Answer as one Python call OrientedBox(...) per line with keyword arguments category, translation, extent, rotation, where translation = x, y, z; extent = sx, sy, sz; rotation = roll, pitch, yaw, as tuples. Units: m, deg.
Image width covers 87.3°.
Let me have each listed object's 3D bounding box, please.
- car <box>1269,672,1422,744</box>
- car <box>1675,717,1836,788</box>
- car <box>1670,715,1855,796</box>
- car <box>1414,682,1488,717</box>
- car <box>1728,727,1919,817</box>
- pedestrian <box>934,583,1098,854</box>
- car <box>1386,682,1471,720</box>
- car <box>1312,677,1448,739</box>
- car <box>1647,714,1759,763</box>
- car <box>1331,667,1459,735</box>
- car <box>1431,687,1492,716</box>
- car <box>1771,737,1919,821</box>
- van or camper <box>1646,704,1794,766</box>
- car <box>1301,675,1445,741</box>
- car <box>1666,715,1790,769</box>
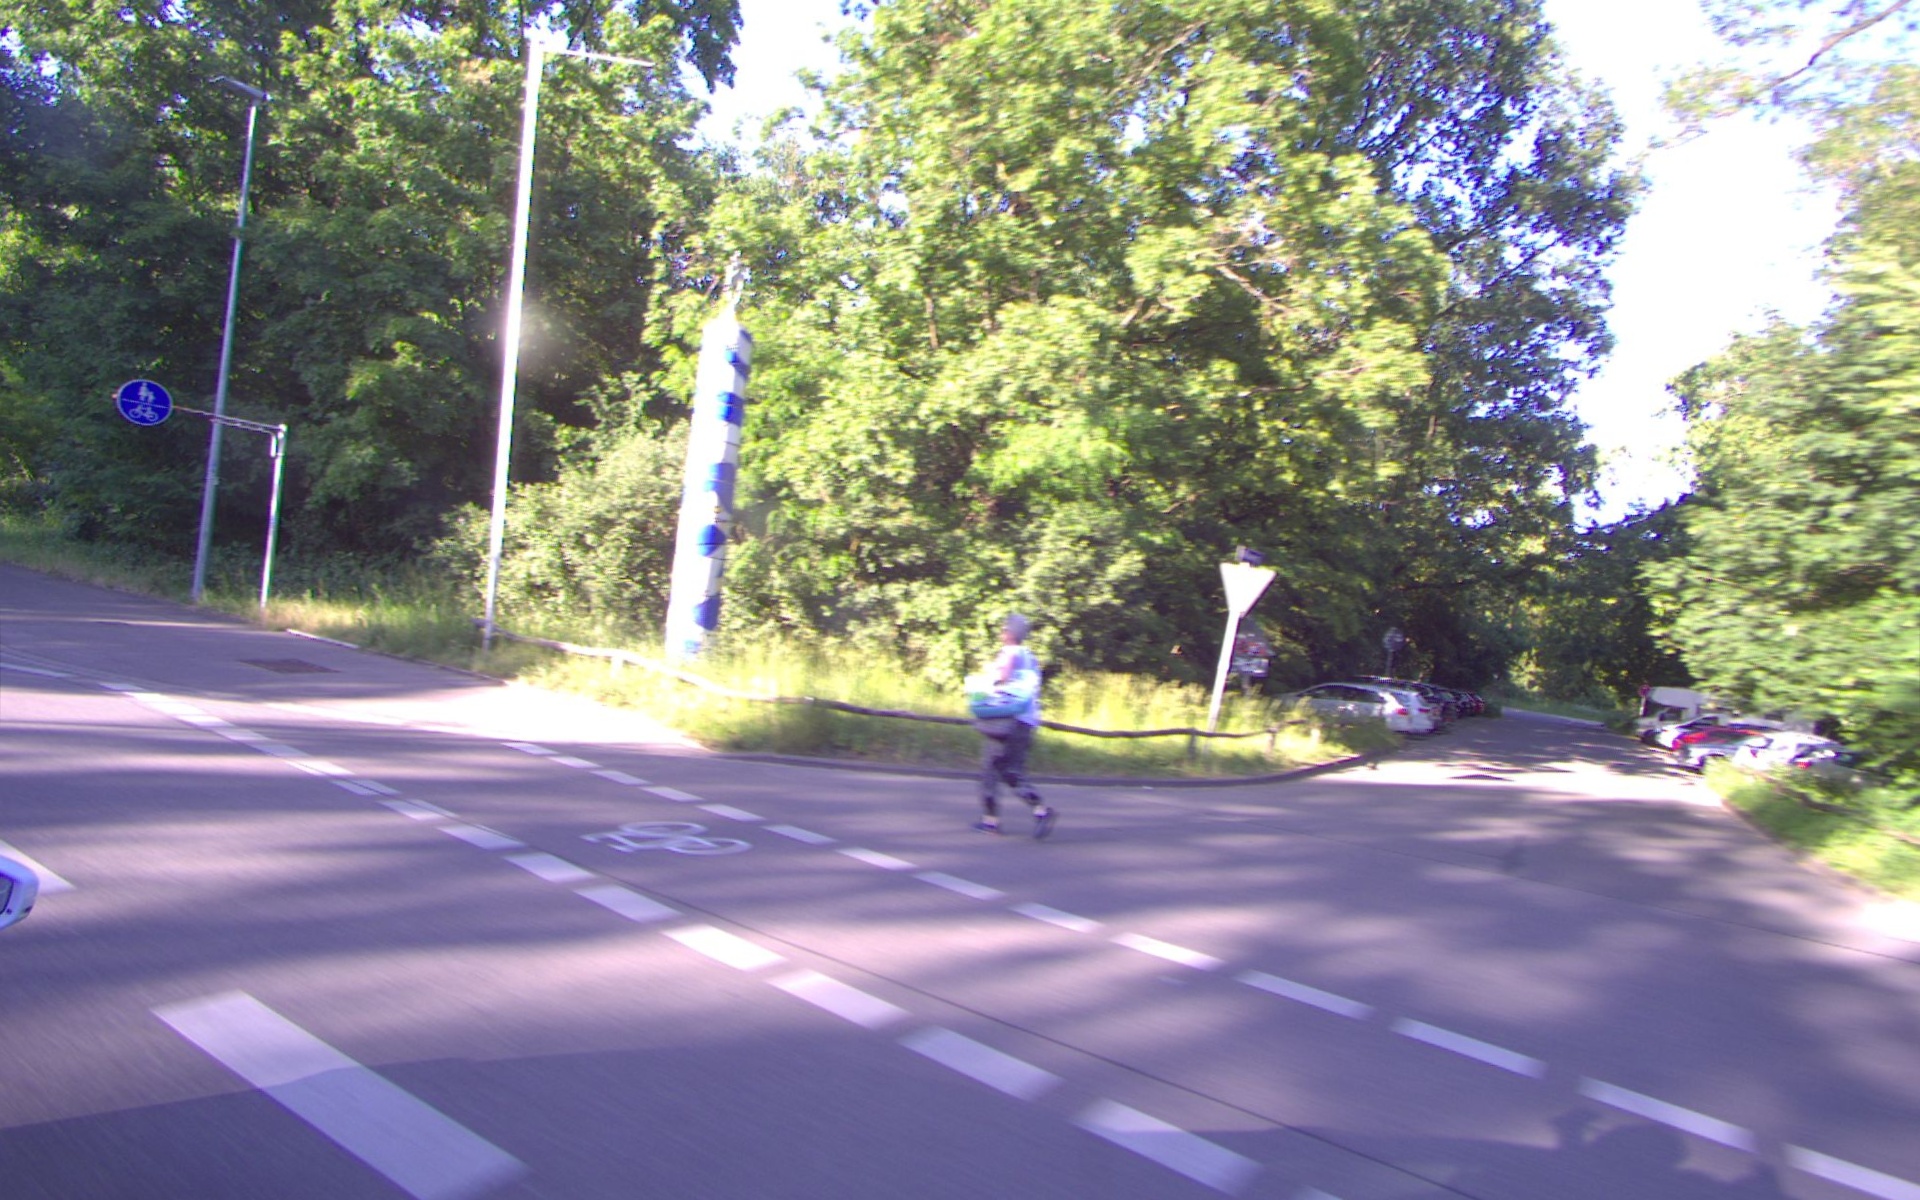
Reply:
OrientedBox(category="car", translation=(10.673, 2.960, 27.890), extent=(3.673, 1.393, 1.615), rotation=(6, -2, 28))
OrientedBox(category="car", translation=(23.577, 4.484, 29.973), extent=(3.470, 1.471, 1.502), rotation=(6, -2, 32))
OrientedBox(category="car", translation=(22.004, 4.227, 27.786), extent=(3.676, 1.546, 1.613), rotation=(6, -2, 32))
OrientedBox(category="car", translation=(28.817, 5.838, 59.071), extent=(3.676, 1.485, 1.539), rotation=(6, -2, 32))
OrientedBox(category="car", translation=(21.401, 4.183, 24.777), extent=(3.676, 1.546, 1.613), rotation=(6, -2, 32))
OrientedBox(category="pedestrian", translation=(0.430, 0.849, 7.472), extent=(0.721, 1.821, 0.808), rotation=(7, 0, 31))
OrientedBox(category="car", translation=(23.869, 5.127, 51.273), extent=(3.676, 1.393, 1.613), rotation=(6, -2, 32))
OrientedBox(category="car", translation=(13.394, 3.427, 32.123), extent=(3.676, 1.393, 1.613), rotation=(6, -2, 32))
OrientedBox(category="car", translation=(30.594, 5.669, 41.518), extent=(3.470, 1.418, 1.502), rotation=(6, -2, 32))
OrientedBox(category="car", translation=(14.919, 3.443, 34.539), extent=(3.676, 1.761, 1.613), rotation=(6, -2, 32))
OrientedBox(category="car", translation=(35.462, 7.197, 71.165), extent=(3.676, 1.485, 1.539), rotation=(6, -2, 32))
OrientedBox(category="car", translation=(20.568, 4.053, 22.341), extent=(3.676, 1.393, 1.613), rotation=(6, -2, 32))
OrientedBox(category="van or camper", translation=(32.688, 5.789, 43.460), extent=(4.751, 1.881, 1.787), rotation=(6, -2, 32))
OrientedBox(category="car", translation=(12.407, 3.222, 30.260), extent=(3.676, 1.393, 1.613), rotation=(6, -2, 32))
OrientedBox(category="car", translation=(29.204, 5.386, 38.365), extent=(3.470, 1.471, 1.502), rotation=(6, -2, 32))
